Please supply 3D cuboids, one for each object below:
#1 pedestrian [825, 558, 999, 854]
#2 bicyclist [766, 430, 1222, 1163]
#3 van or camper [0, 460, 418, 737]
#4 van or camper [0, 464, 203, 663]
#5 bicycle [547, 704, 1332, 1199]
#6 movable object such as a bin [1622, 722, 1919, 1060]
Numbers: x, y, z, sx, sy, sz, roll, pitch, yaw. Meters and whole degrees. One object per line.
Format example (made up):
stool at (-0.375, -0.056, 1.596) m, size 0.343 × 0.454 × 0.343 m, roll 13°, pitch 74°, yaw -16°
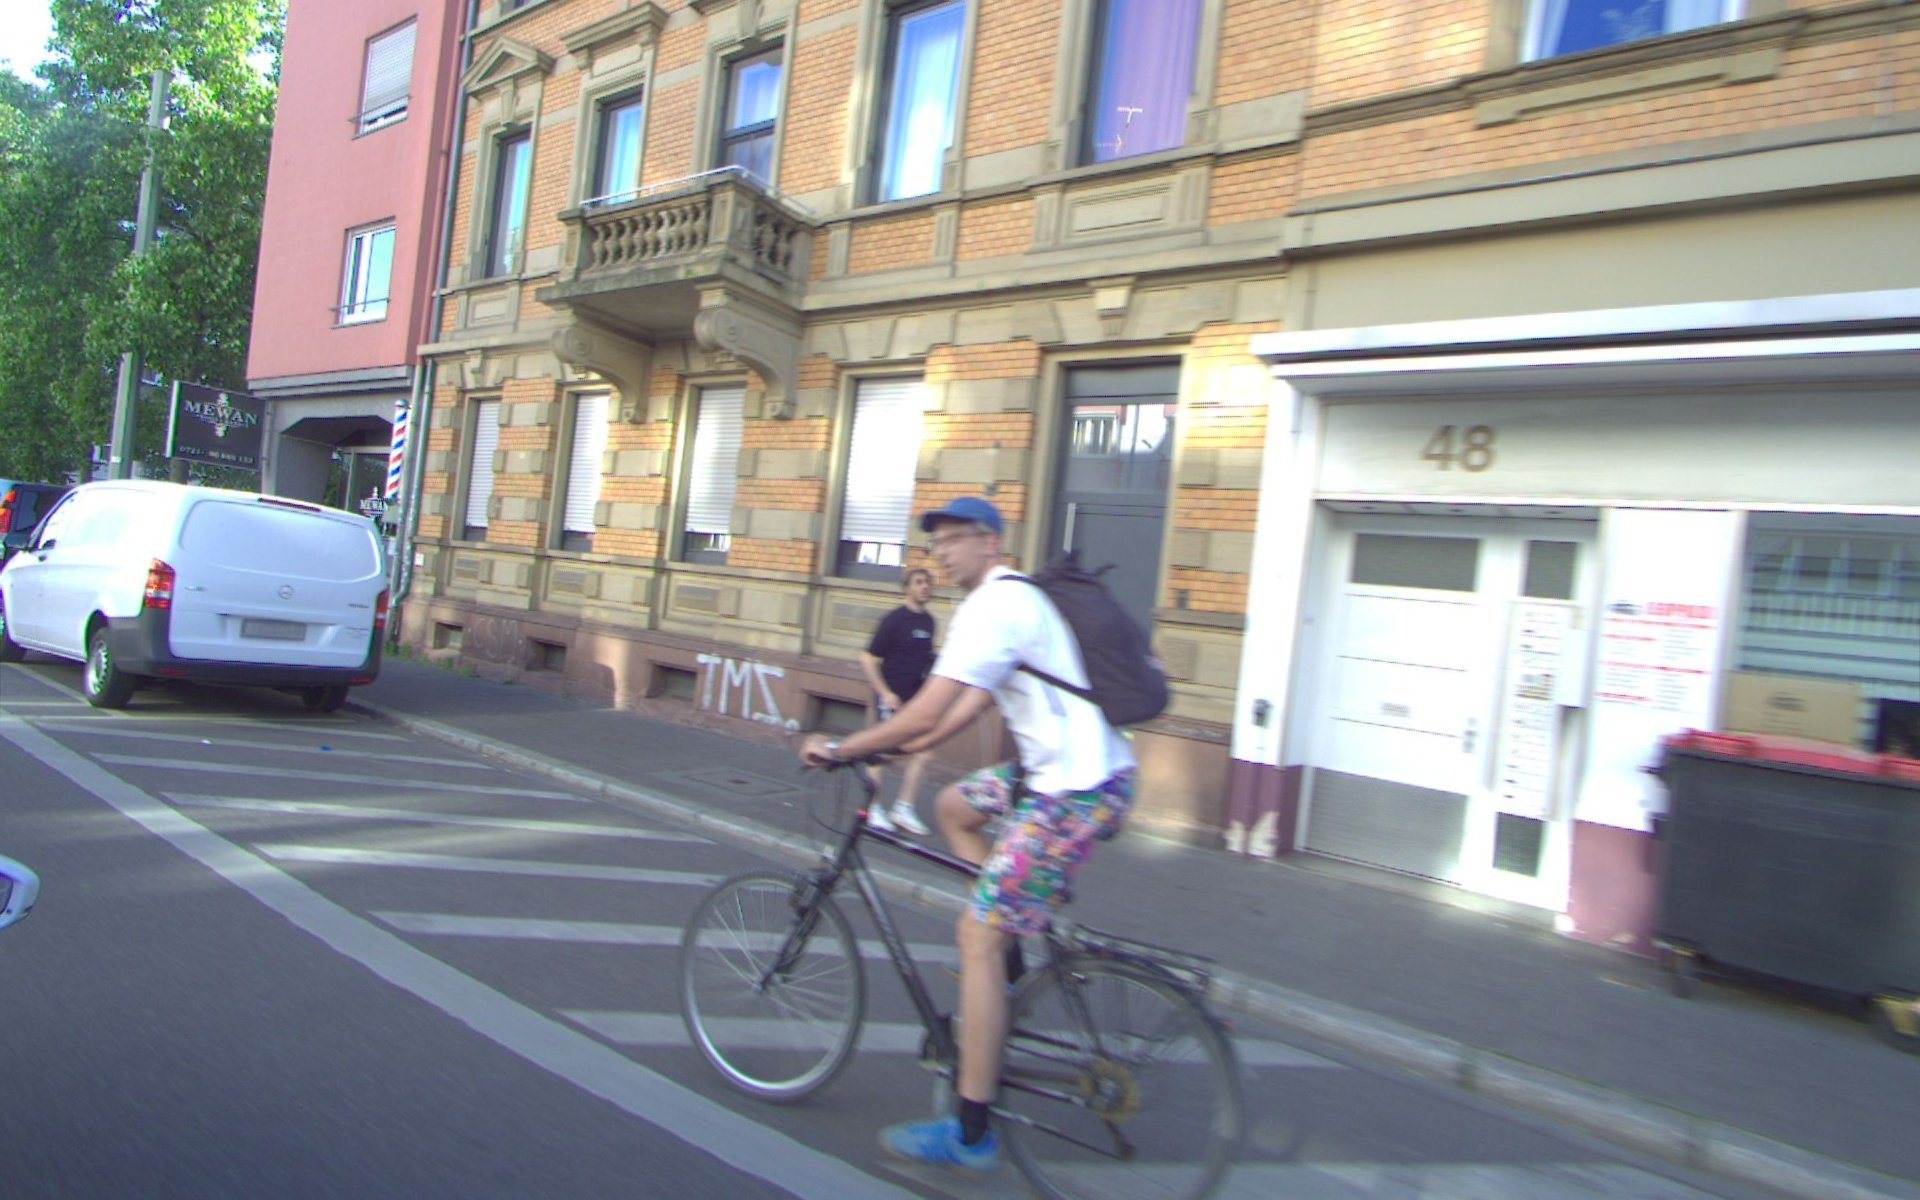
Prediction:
pedestrian at (-0.317, 0.692, 6.829) m, size 0.744 × 1.835 × 0.673 m, roll 6°, pitch -1°, yaw 34°
bicyclist at (0.122, 0.446, 2.810) m, size 0.911 × 1.675 × 0.657 m, roll 6°, pitch -1°, yaw 25°
van or camper at (-7.736, -0.102, 9.786) m, size 5.390 × 2.059 × 1.934 m, roll 5°, pitch -3°, yaw 35°
van or camper at (-12.330, -0.573, 13.260) m, size 5.246 × 2.068 × 1.974 m, roll 6°, pitch -3°, yaw 34°
bicycle at (-0.095, 1.018, 2.892) m, size 2.057 × 1.152 × 0.649 m, roll 6°, pitch -1°, yaw 23°
movable object such as a bin at (4.227, 1.400, 5.153) m, size 1.279 × 1.363 × 0.776 m, roll 6°, pitch -1°, yaw 34°
